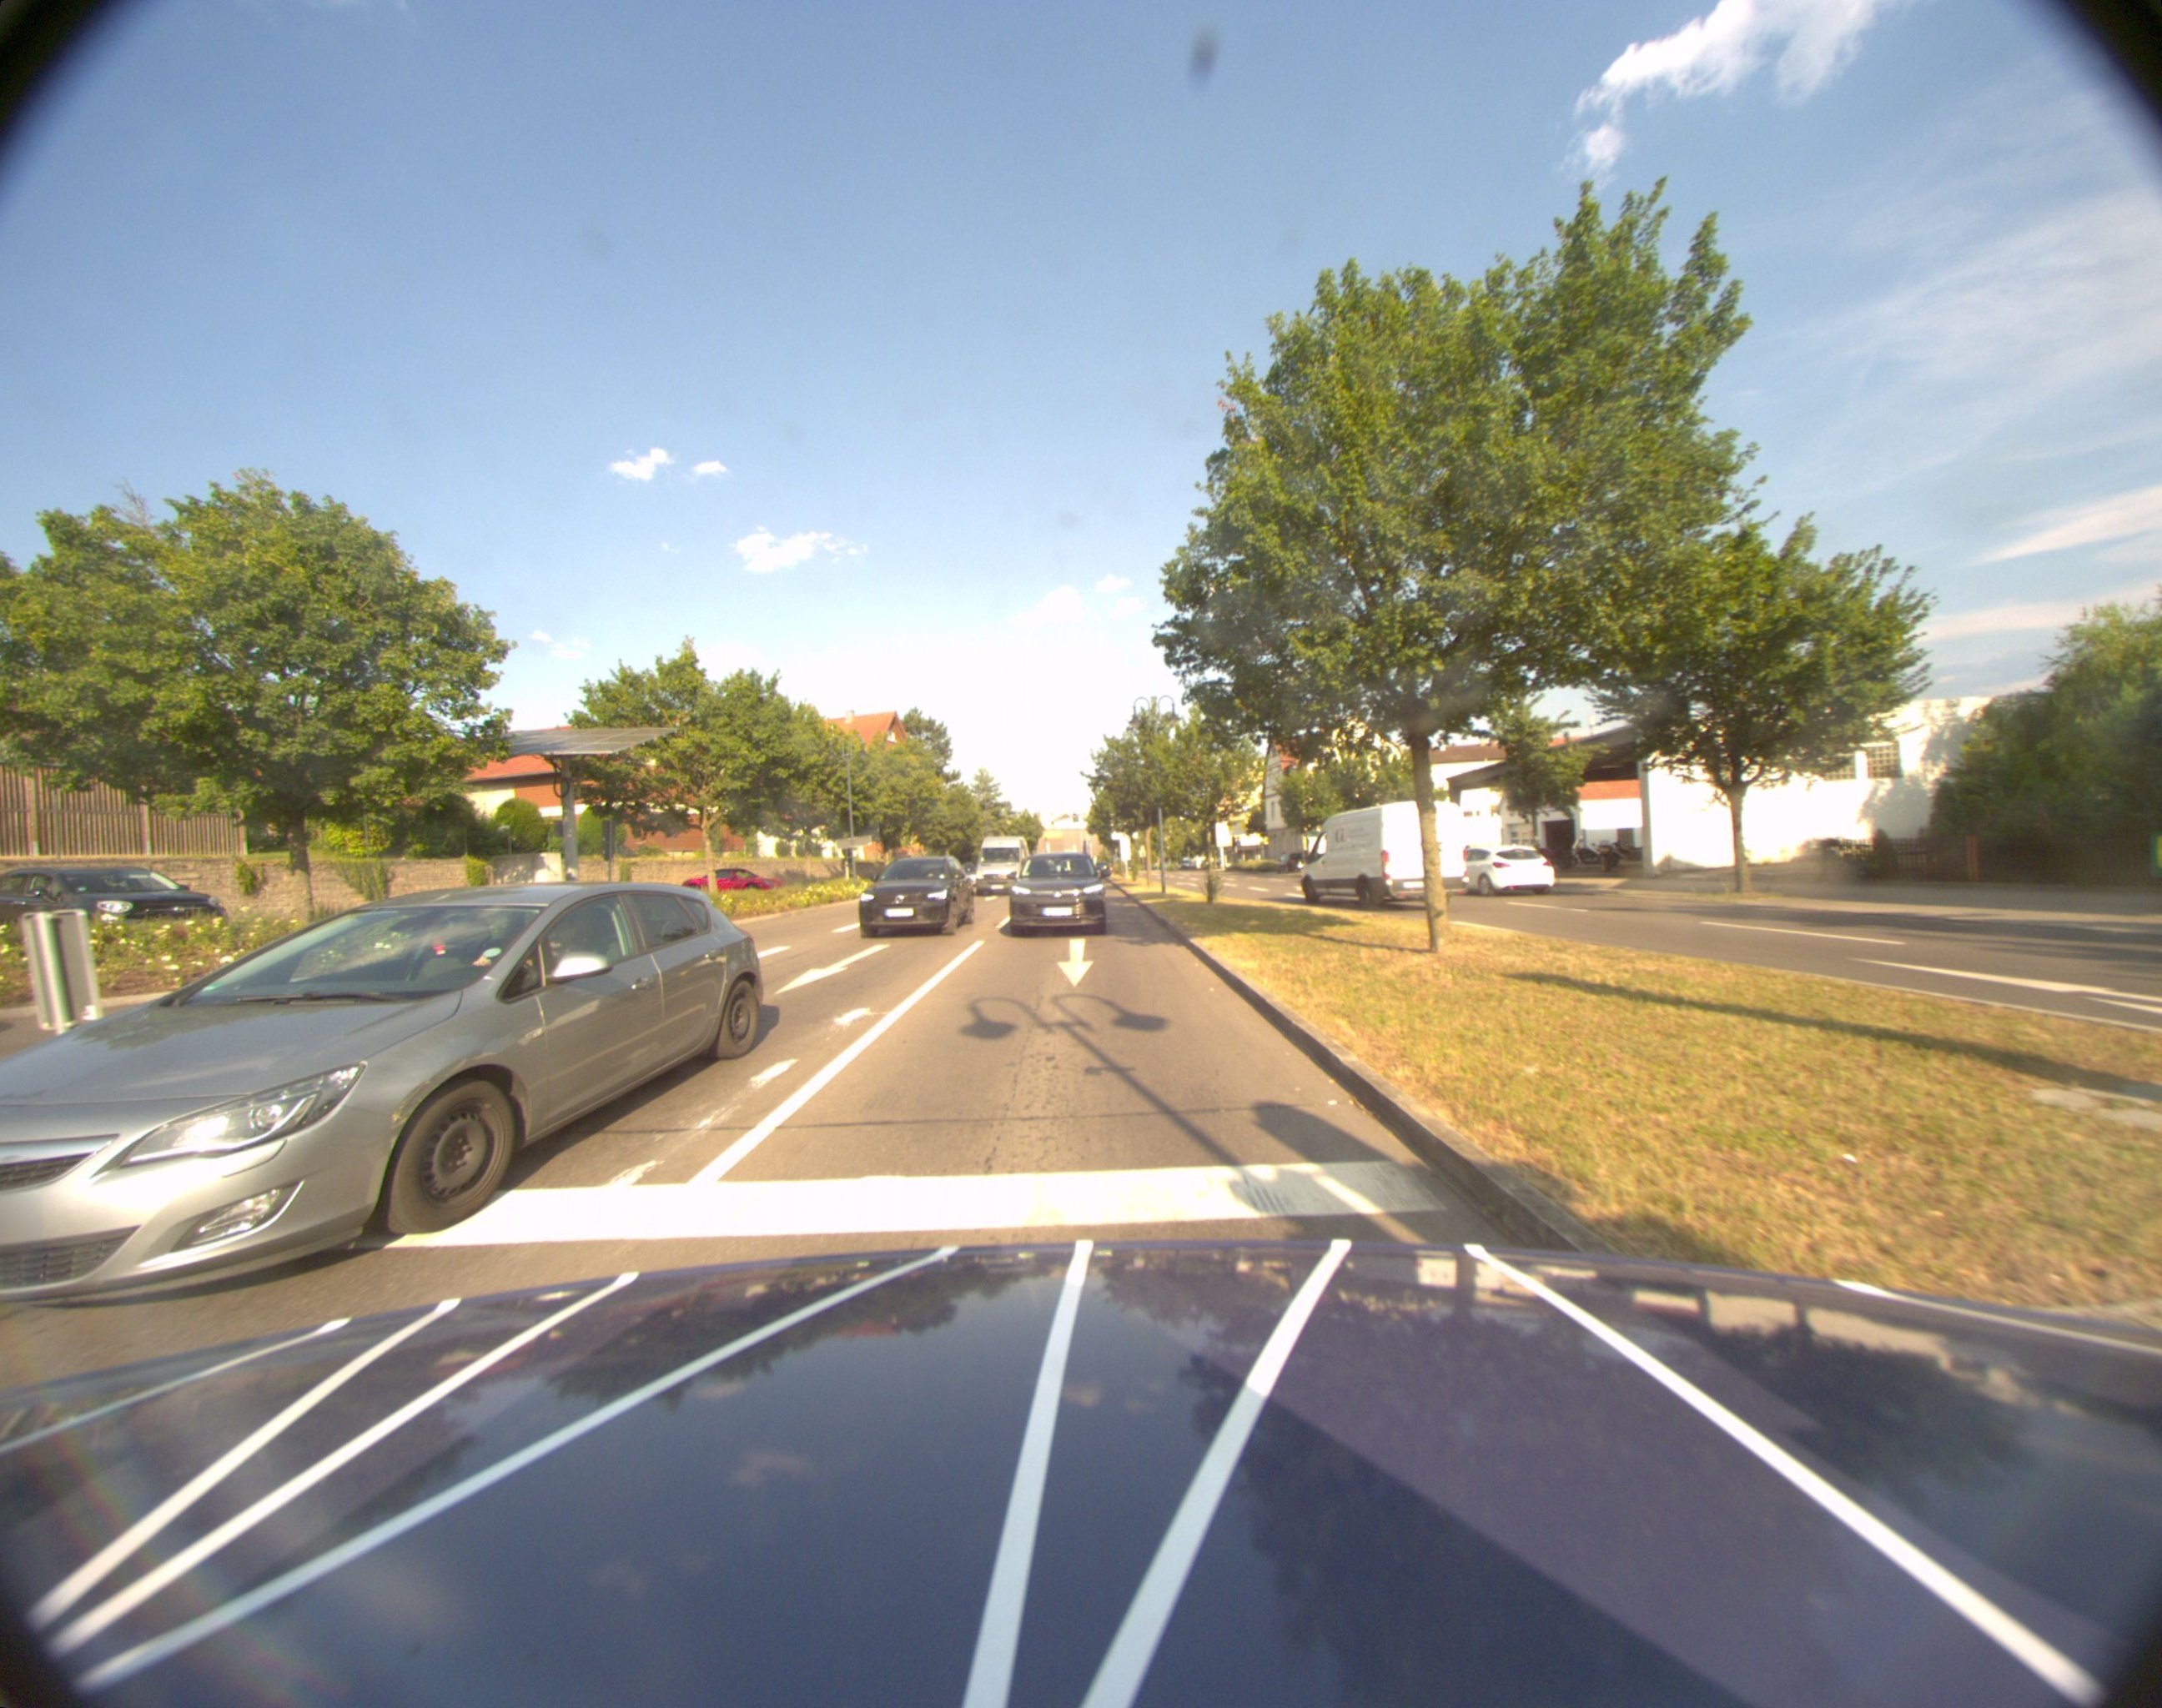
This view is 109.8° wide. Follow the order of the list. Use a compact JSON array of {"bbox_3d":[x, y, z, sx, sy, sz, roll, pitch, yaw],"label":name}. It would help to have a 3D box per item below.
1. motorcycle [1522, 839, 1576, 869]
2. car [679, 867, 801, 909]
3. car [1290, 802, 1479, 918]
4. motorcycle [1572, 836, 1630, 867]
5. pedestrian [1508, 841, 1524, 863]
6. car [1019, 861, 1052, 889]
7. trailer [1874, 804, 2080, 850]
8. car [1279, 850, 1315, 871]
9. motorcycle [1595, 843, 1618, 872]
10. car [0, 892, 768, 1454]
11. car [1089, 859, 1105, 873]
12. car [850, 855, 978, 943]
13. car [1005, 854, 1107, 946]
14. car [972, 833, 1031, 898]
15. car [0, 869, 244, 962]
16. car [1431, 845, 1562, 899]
[{"bbox_3d":[21.762,0.010,35.368,0.489,1.315,2.114,-3,0,-31],"label":"motorcycle"},{"bbox_3d":[-13.420,1.325,30.008,3.994,1.422,1.749,-2,0,8],"label":"car"},{"bbox_3d":[7.429,0.131,19.409,2.091,2.461,5.476,-2,0,-6],"label":"car"},{"bbox_3d":[24.056,-0.097,35.194,0.489,1.315,2.114,-3,0,-32],"label":"motorcycle"},{"bbox_3d":[26.940,-0.136,47.014,0.596,1.332,0.584,-2,1,-7],"label":"pedestrian"},{"bbox_3d":[-2.933,1.337,49.740,1.768,1.582,4.056,-3,0,0],"label":"car"},{"bbox_3d":[26.902,-0.791,22.977,3.362,1.106,2.170,-4,0,16],"label":"trailer"},{"bbox_3d":[15.691,0.458,55.333,1.672,1.310,3.432,-5,0,3],"label":"car"},{"bbox_3d":[21.481,0.122,31.043,0.549,1.092,2.052,-3,0,40],"label":"motorcycle"},{"bbox_3d":[-3.508,1.038,4.276,1.651,1.414,4.144,-1,0,2],"label":"car"},{"bbox_3d":[2.220,1.618,104.713,1.815,1.861,4.001,-2,0,6],"label":"car"},{"bbox_3d":[-3.449,0.864,16.445,1.792,1.596,4.056,-2,0,0],"label":"car"},{"bbox_3d":[-0.437,0.827,15.719,1.768,1.582,4.056,-3,0,0],"label":"car"},{"bbox_3d":[-3.487,0.459,34.712,2.040,2.642,6.648,-1,0,-1],"label":"car"},{"bbox_3d":[-17.825,1.103,13.805,4.073,1.448,1.680,-2,0,13],"label":"car"},{"bbox_3d":[12.361,0.498,22.955,1.695,1.406,4.214,-2,0,2],"label":"car"}]
